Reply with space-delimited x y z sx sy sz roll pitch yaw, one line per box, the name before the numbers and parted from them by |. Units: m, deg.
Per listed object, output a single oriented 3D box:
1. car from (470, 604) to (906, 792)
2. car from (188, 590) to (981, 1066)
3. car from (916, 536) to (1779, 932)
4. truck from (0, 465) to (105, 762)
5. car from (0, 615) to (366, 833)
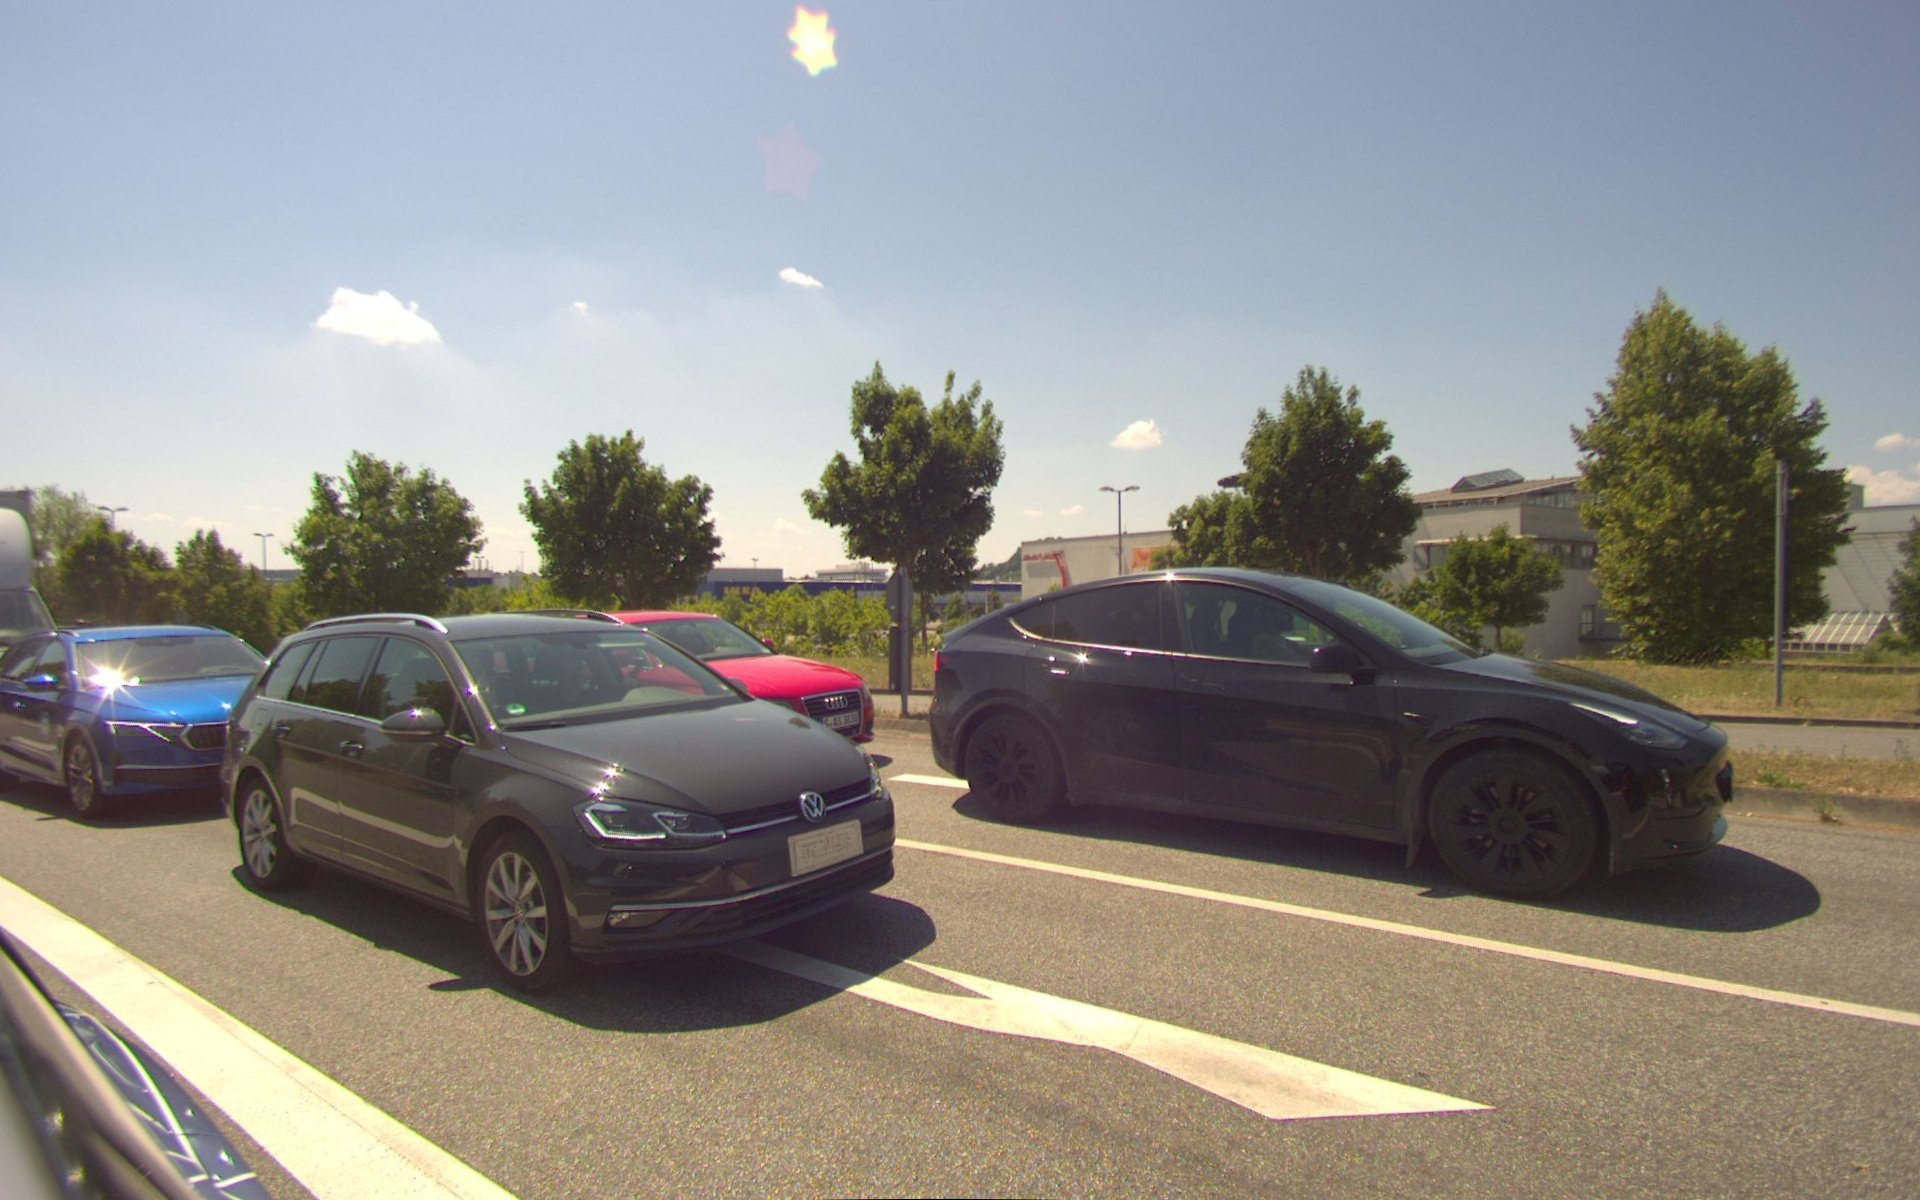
car | -2.761 0.785 9.740 4.442 1.399 1.646 -1 1 37
car | -2.195 0.755 5.240 4.422 1.493 1.761 -1 -1 37
car | 2.060 0.571 6.220 4.497 1.613 1.858 -1 0 37
truck | -14.051 0.302 13.165 7.178 3.373 2.389 -3 -1 32
car | -7.327 0.951 8.974 4.475 1.473 1.694 -2 -1 33
